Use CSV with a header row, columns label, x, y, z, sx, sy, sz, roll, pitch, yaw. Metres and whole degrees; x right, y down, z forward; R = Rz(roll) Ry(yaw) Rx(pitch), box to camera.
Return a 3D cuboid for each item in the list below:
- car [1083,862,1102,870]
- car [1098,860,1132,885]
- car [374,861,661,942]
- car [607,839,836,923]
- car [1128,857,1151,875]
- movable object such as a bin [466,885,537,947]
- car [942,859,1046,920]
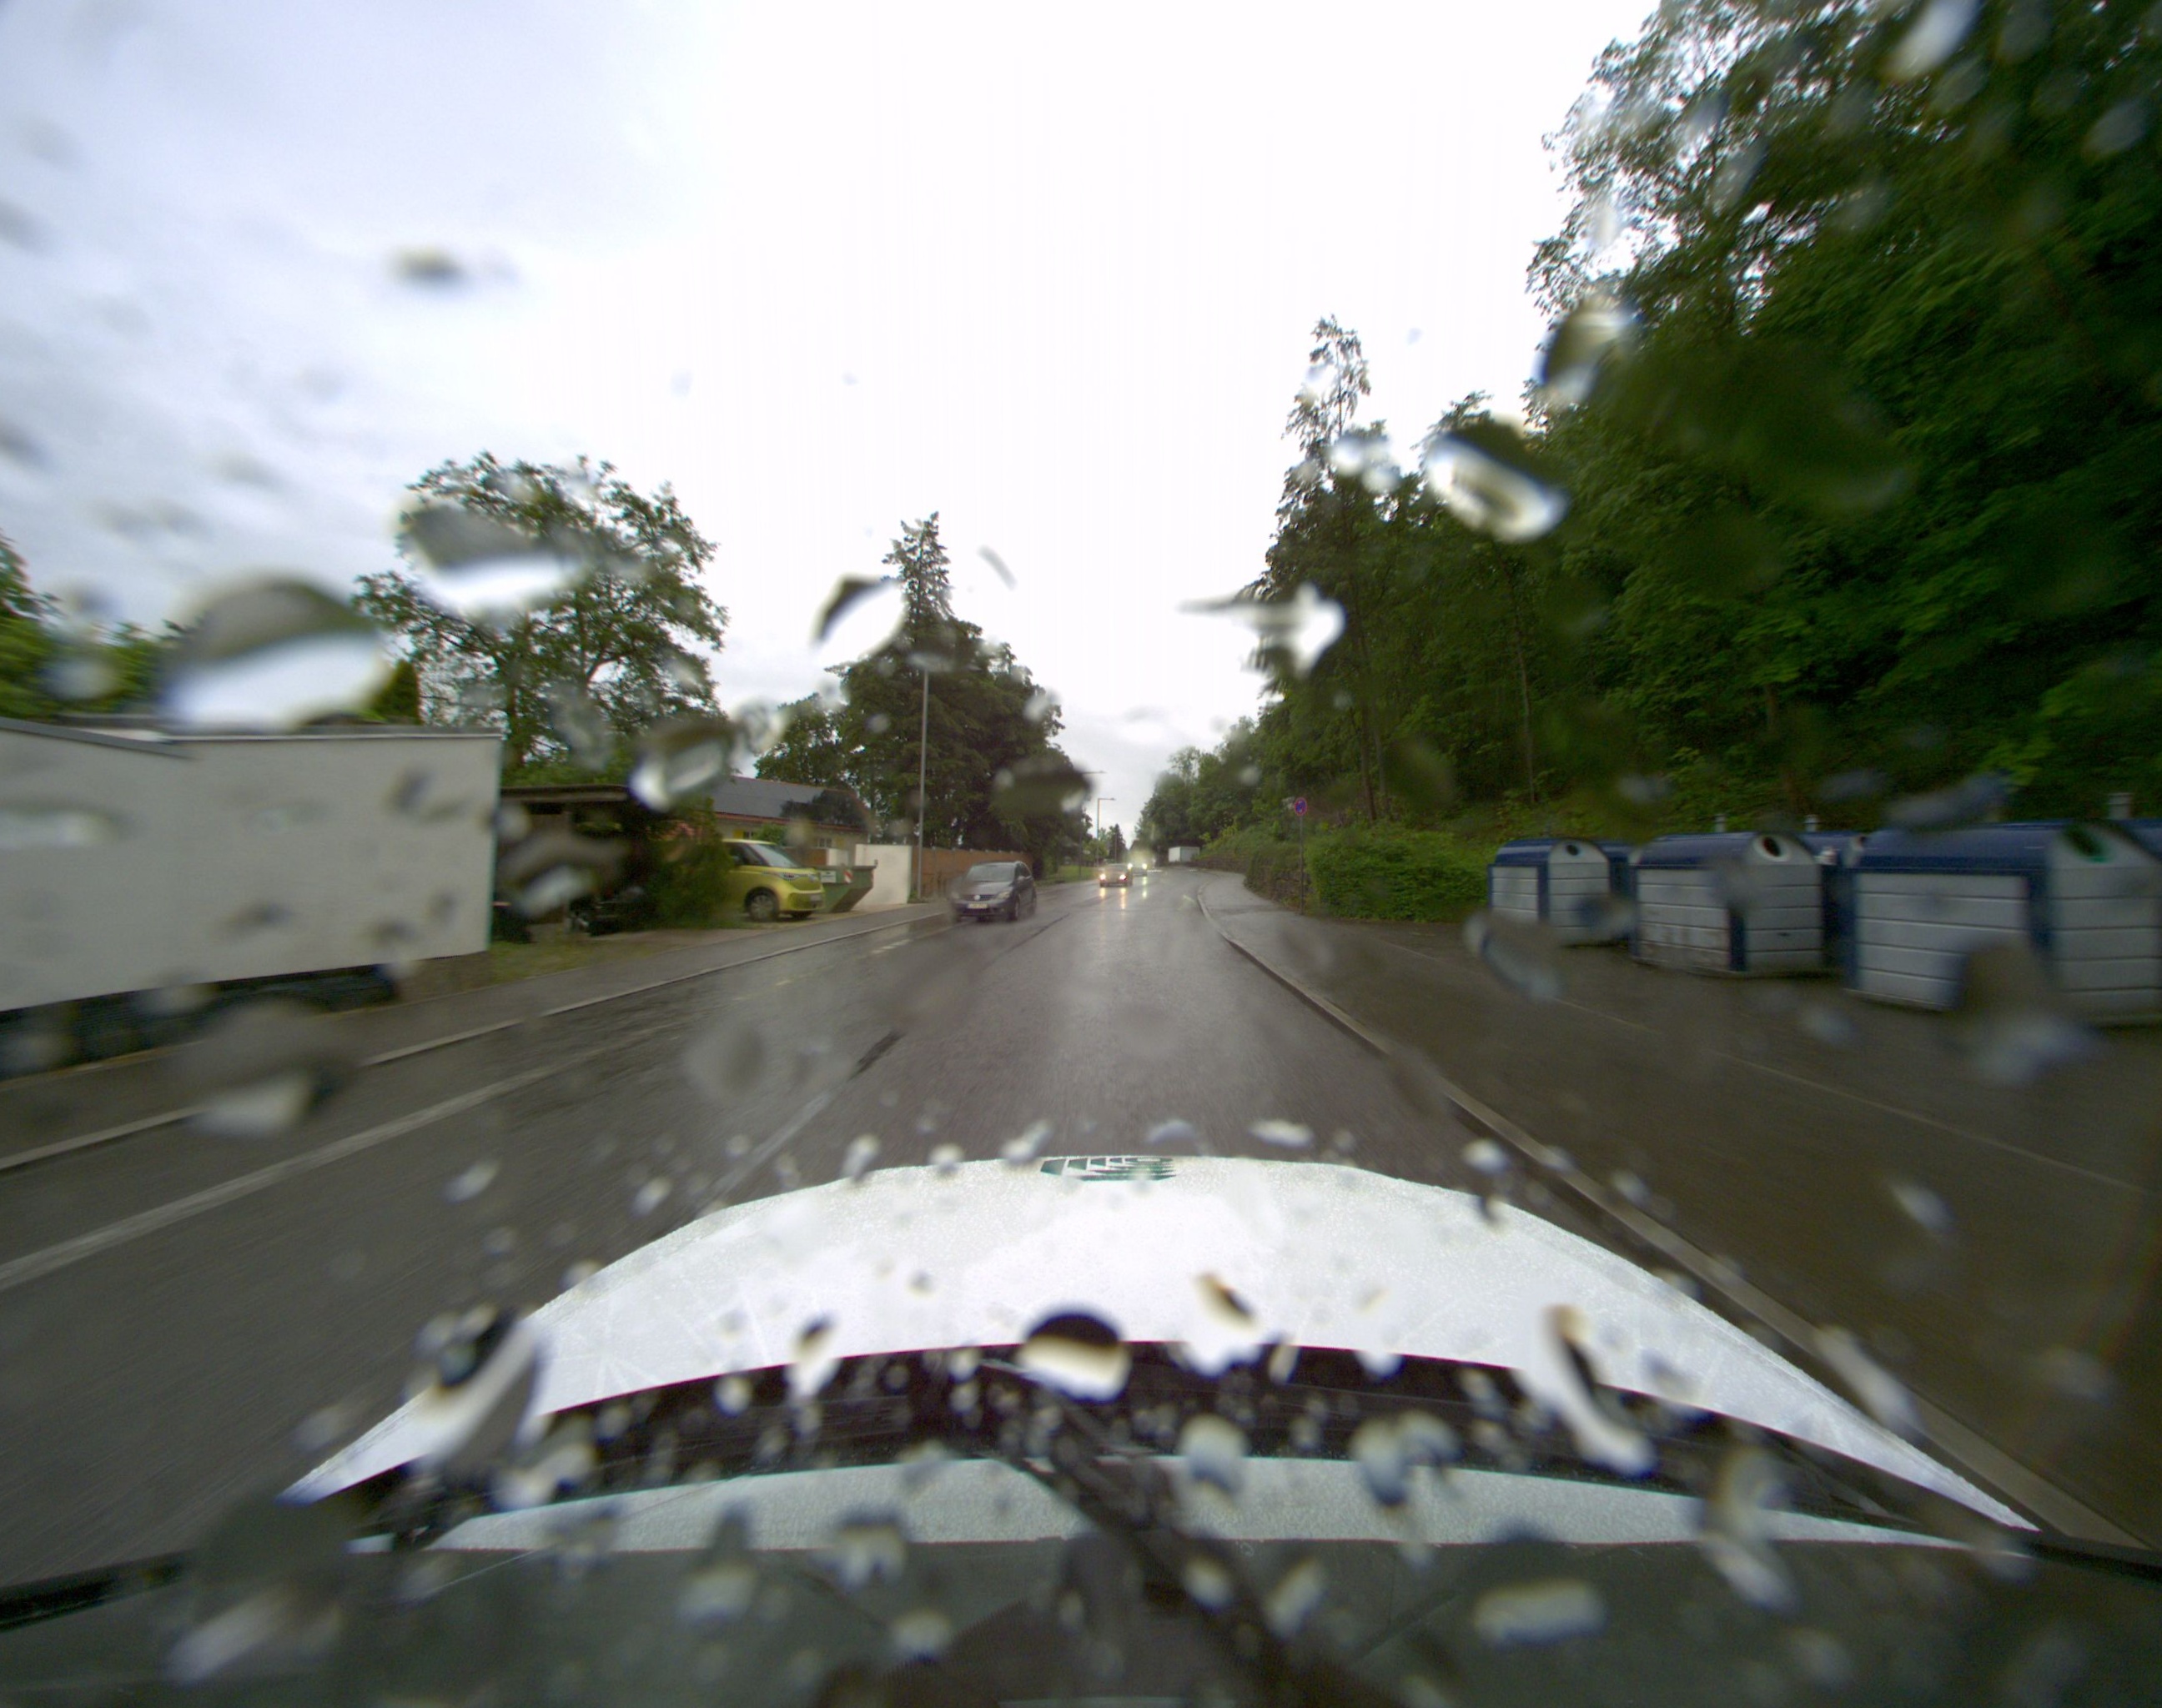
label,x,y,z,sx,sy,sz,roll,pitch,yaw
car,2.481,2.570,177.814,2.024,1.632,3.953,4,-2,-41
car,2.189,1.129,50.960,1.825,1.511,4.176,0,-1,6
car,-10.207,0.826,14.974,3.982,1.303,1.791,-1,0,0
car,-8.378,0.604,19.216,4.478,1.860,2.094,0,0,7
car,5.798,1.146,80.120,1.908,1.648,4.556,-1,-1,7
movable object such as a bin,-9.068,0.956,12.761,0.684,0.904,0.618,-1,0,-9
car,-2.283,0.897,22.669,1.824,1.511,4.627,0,-1,8
